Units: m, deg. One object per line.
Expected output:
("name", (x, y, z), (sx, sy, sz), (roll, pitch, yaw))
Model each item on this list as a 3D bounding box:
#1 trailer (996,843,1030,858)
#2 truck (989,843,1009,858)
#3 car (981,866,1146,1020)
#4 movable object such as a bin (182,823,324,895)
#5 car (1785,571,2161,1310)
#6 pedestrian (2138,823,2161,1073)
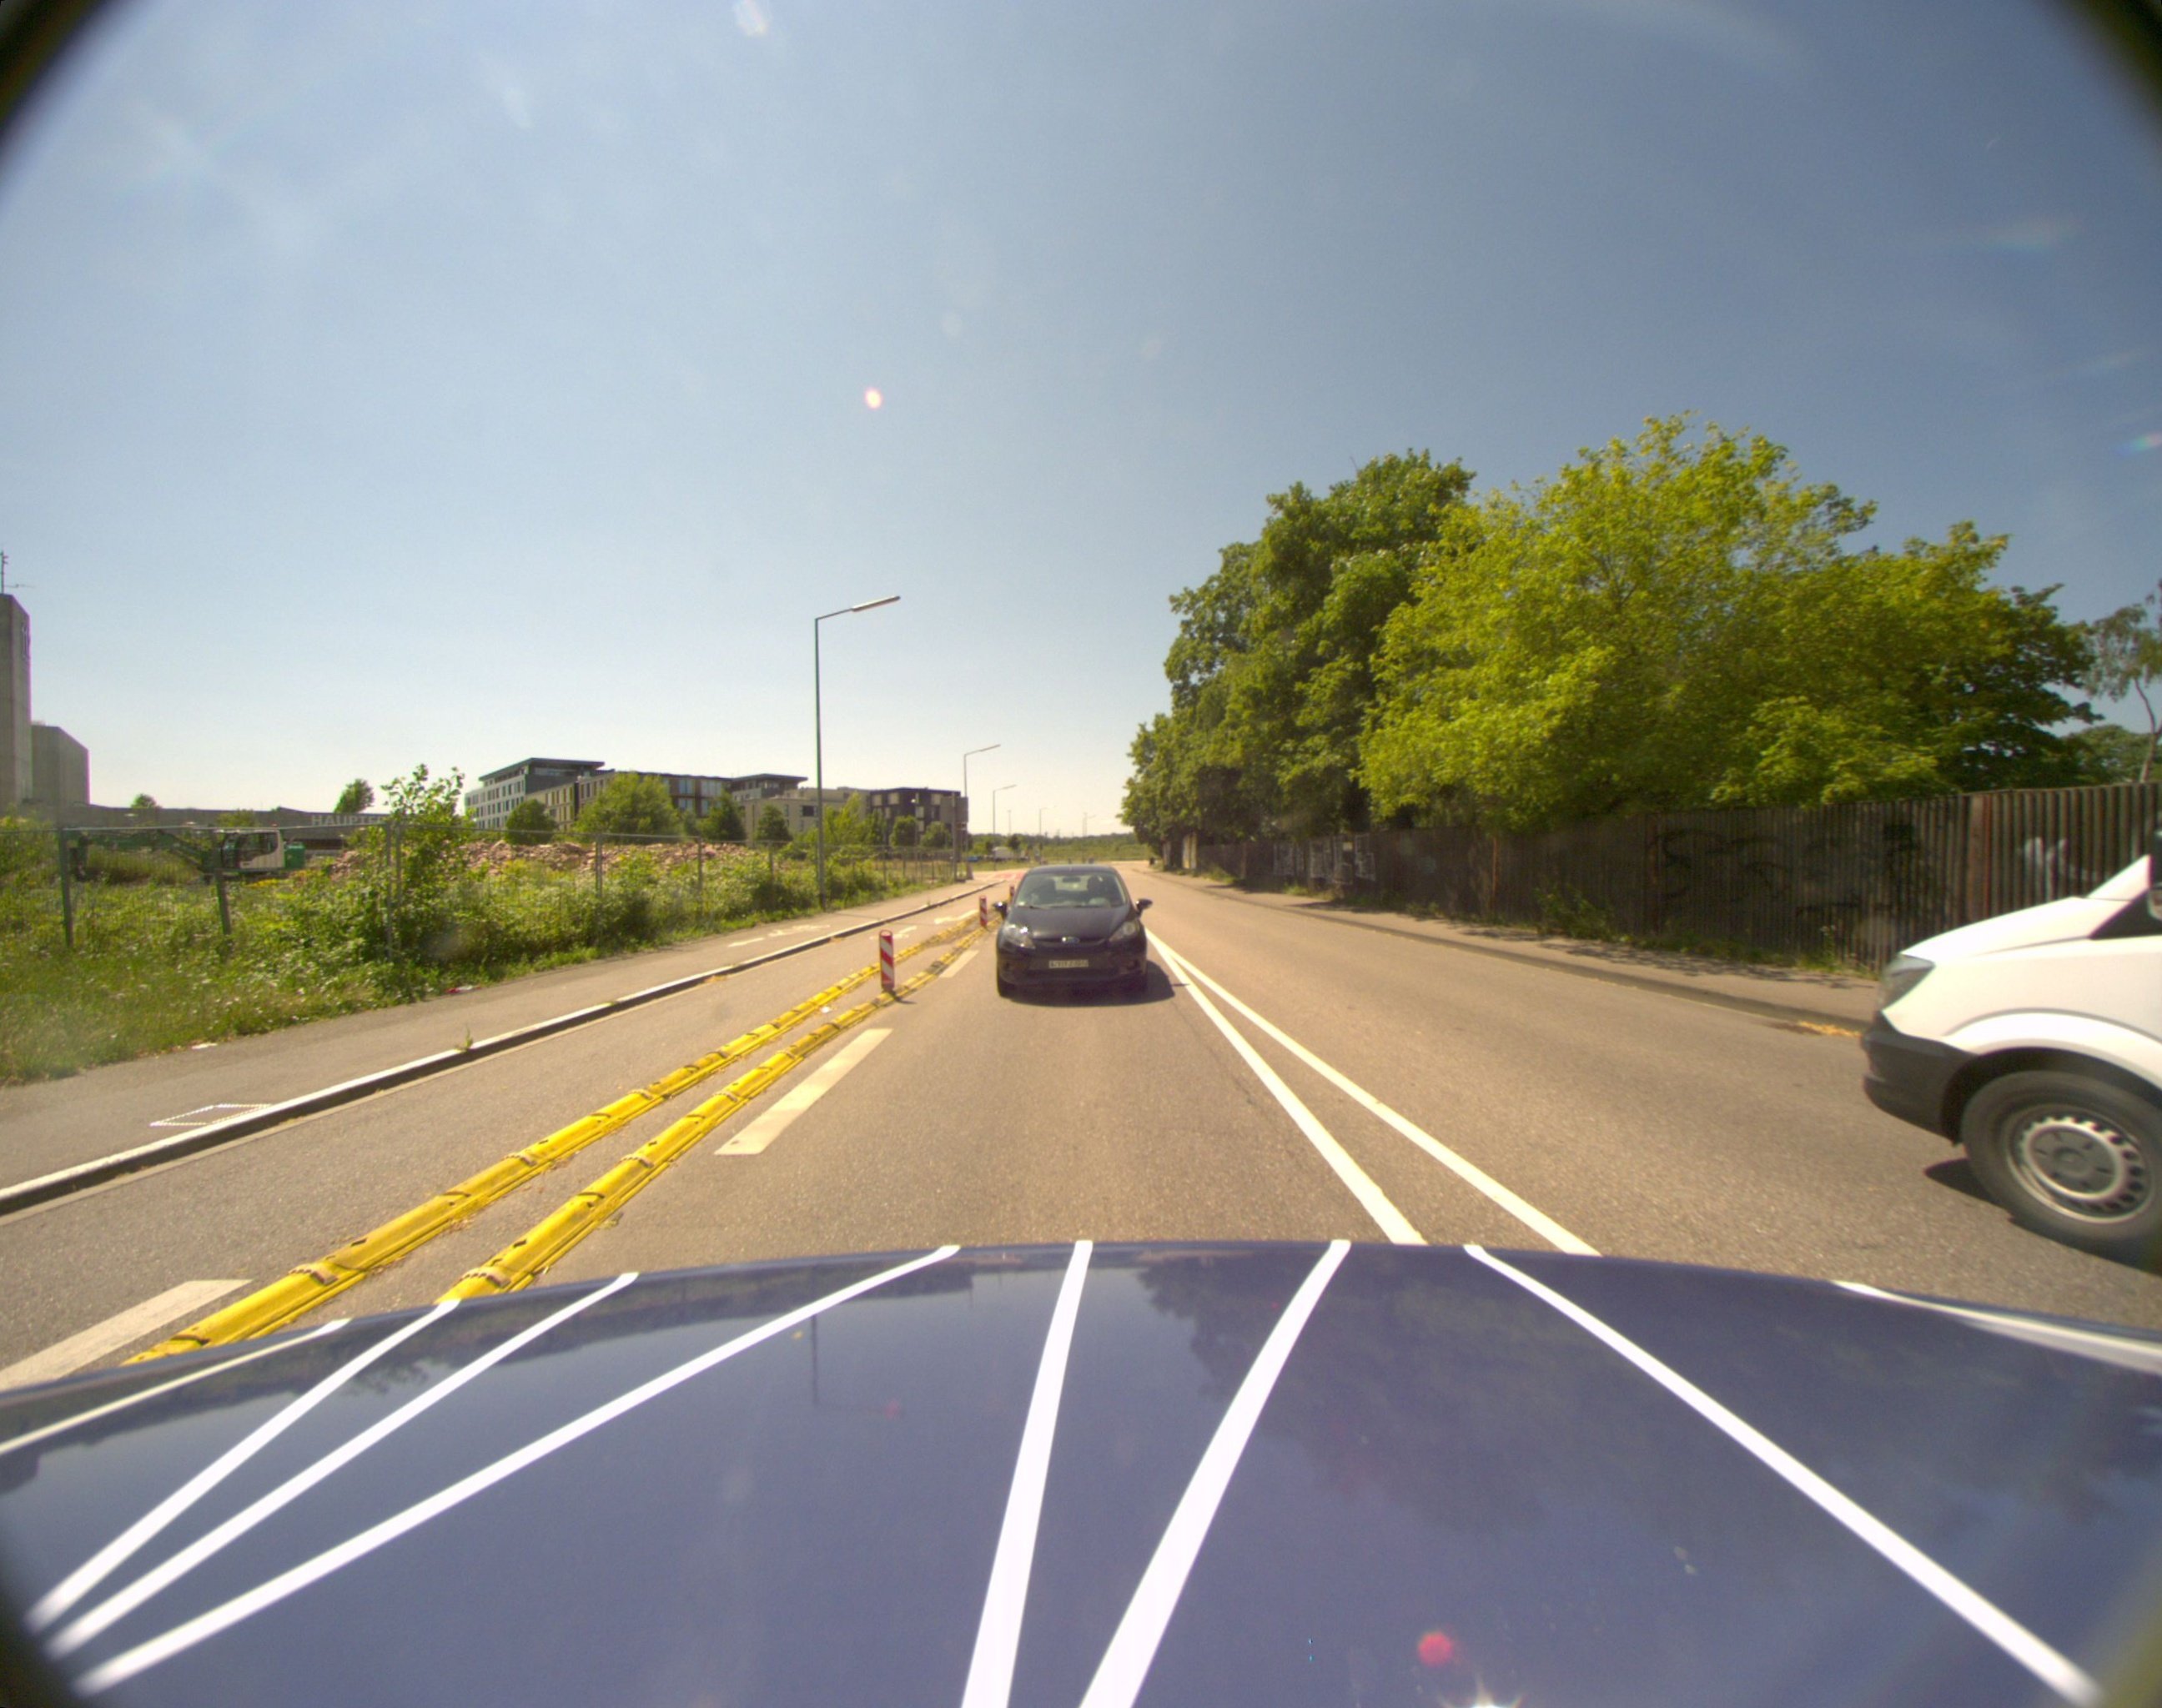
("trailer", (-15.348, -0.863, 171.427), (8.194, 3.329, 1.994), (-1, 1, -45))
("truck", (-18.102, -0.858, 168.684), (4.008, 3.316, 1.994), (-1, 1, -45))
("car", (-0.156, 0.925, 9.603), (1.602, 1.422, 4.000), (-2, 0, 0))
("movable object such as a bin", (-37.704, 0.197, 34.746), (2.204, 3.045, 3.690), (-2, 1, 6))
("car", (4.975, 0.309, 0.550), (2.026, 2.524, 6.822), (0, 0, -7))
("pedestrian", (8.109, 0.679, 5.192), (0.594, 1.814, 0.851), (-2, 1, 1))
